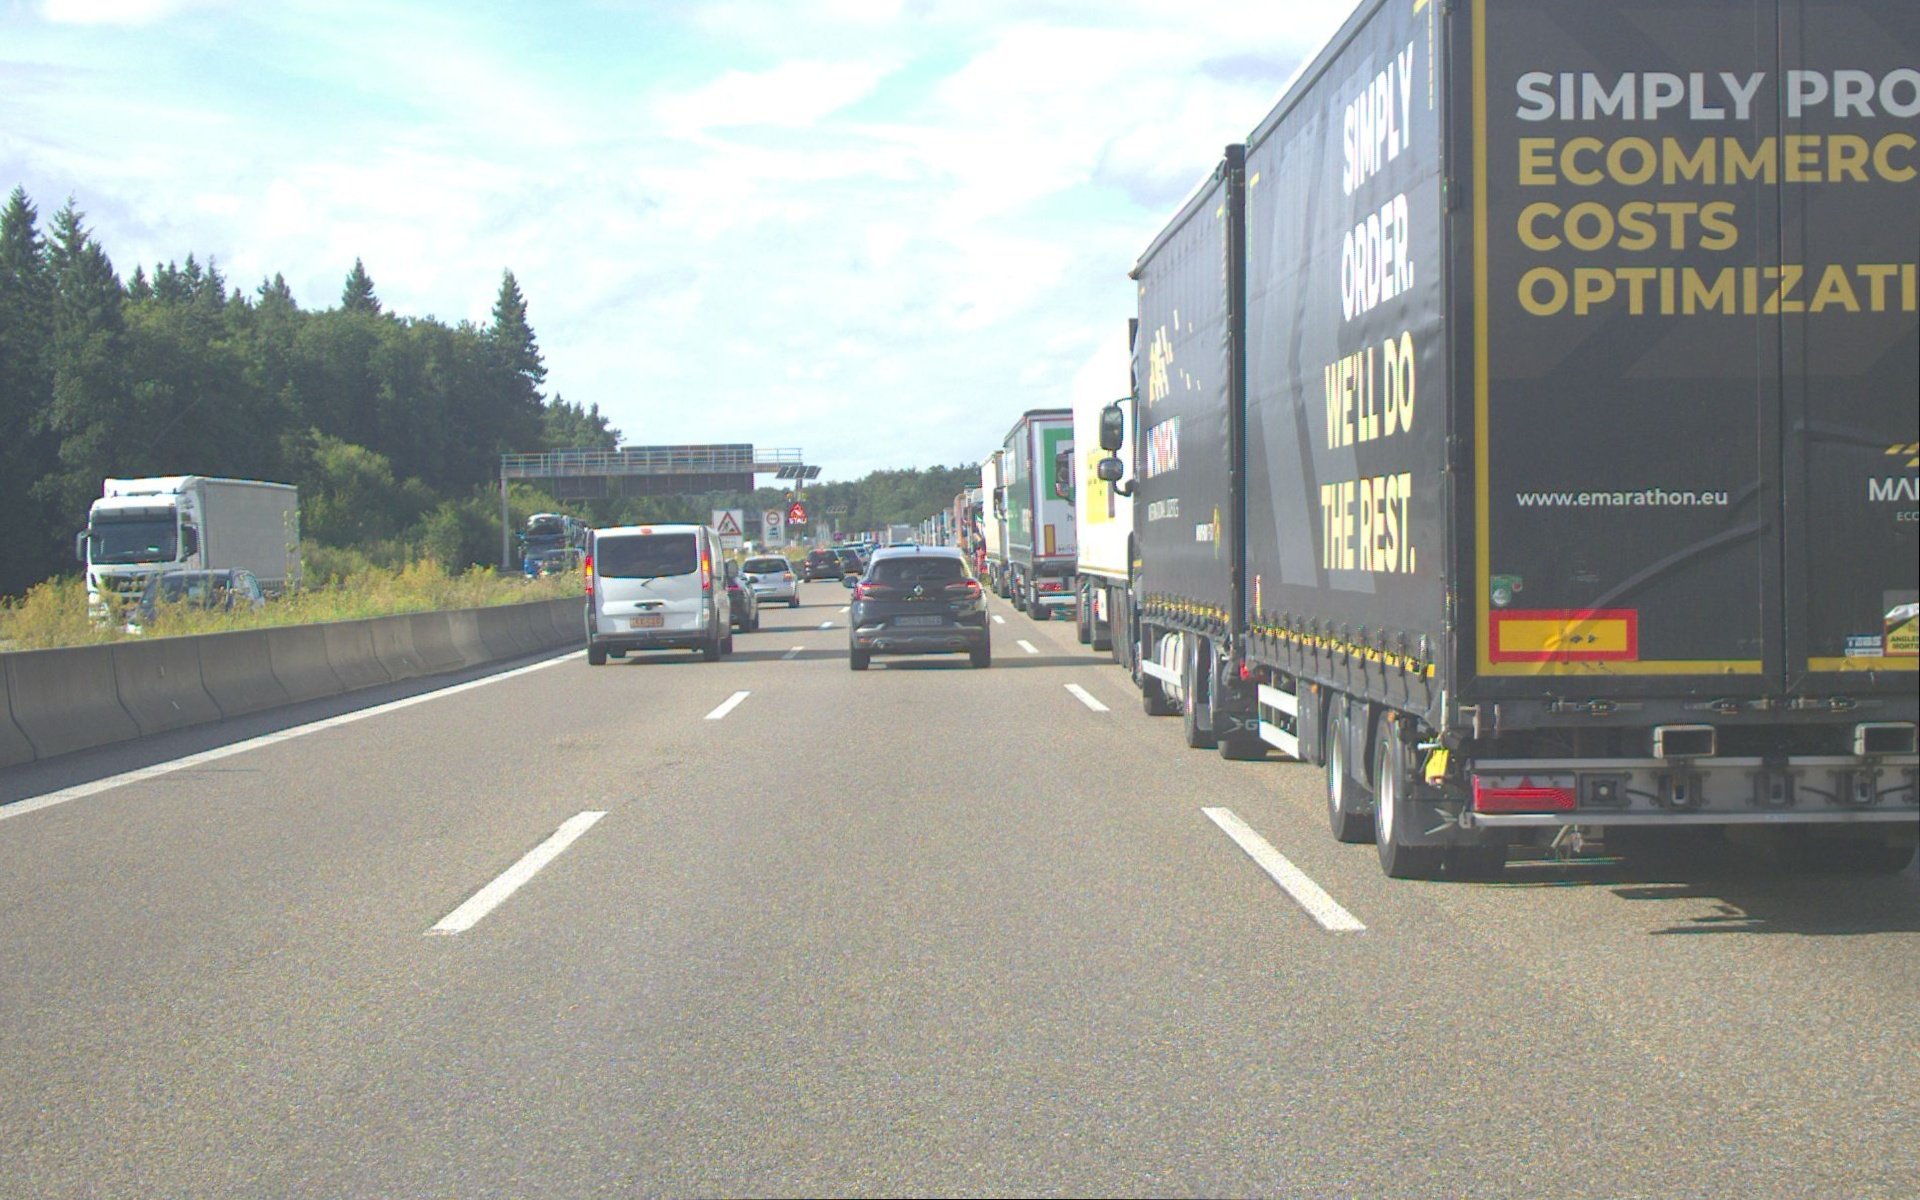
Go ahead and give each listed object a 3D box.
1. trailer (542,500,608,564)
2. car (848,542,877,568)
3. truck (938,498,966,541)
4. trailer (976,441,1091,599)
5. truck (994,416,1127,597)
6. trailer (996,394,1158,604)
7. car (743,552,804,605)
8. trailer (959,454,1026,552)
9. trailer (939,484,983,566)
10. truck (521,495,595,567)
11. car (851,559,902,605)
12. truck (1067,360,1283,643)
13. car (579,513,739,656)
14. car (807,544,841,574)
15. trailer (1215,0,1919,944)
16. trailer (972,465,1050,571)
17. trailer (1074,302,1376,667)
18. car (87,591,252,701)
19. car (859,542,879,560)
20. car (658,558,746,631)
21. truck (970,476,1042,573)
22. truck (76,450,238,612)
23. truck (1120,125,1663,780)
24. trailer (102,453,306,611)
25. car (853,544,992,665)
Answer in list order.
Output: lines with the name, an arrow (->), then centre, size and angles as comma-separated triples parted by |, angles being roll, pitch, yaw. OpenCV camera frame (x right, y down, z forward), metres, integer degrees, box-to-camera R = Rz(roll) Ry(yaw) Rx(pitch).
trailer -> -22.113, -3.881, 197.752 | 2.798, 3.516, 8.954 | -2, 1, -1
car -> -5.055, -2.324, 178.853 | 1.434, 1.305, 3.533 | 1, 1, -1
truck -> -0.568, -5.935, 254.166 | 1.993, 3.042, 4.981 | 1, 1, 0
trailer -> 1.974, -2.243, 97.783 | 2.703, 4.068, 12.945 | -3, 1, 0
truck -> 2.217, -2.070, 78.248 | 2.647, 3.855, 6.996 | -2, 1, 0
trailer -> 2.261, -1.977, 71.156 | 2.661, 3.855, 13.395 | -2, 1, 0
car -> -5.116, -0.596, 94.398 | 1.500, 1.391, 3.476 | 1, 1, -1
trailer -> 1.466, -4.428, 159.915 | 2.802, 4.229, 11.057 | -3, 1, 0
trailer -> 0.054, -3.984, 183.960 | 2.150, 4.244, 8.440 | -2, 1, 0
truck -> -21.905, -3.725, 187.667 | 2.831, 3.676, 11.133 | -2, 1, -1
car -> -2.656, -0.578, 108.715 | 1.581, 1.391, 3.208 | 1, 1, -2
truck -> 3.107, -1.419, 51.078 | 2.802, 3.925, 5.826 | -1, 1, 0
car -> -4.393, -0.253, 50.840 | 1.933, 1.972, 5.099 | 1, 1, -1
car -> -6.084, -1.859, 154.295 | 1.434, 1.305, 3.533 | 1, 1, -1
trailer -> 3.011, -0.811, 17.073 | 2.716, 3.947, 8.712 | 1, 1, 0
trailer -> 1.816, -2.969, 127.016 | 2.541, 3.641, 10.627 | -2, 1, 0
trailer -> 3.094, -1.332, 43.856 | 2.792, 3.925, 13.070 | -1, 1, 0
car -> -13.103, 0.736, 57.205 | 1.815, 1.688, 4.251 | 1, 1, -1
car -> -6.424, -3.446, 241.899 | 1.361, 1.296, 3.085 | 1, 1, -1
car -> -5.023, -0.133, 67.335 | 1.500, 1.391, 3.476 | 0, 1, -1
truck -> 1.751, -2.913, 133.672 | 2.533, 3.571, 6.730 | -2, 1, 0
truck -> -20.488, -1.740, 88.033 | 2.819, 3.962, 5.833 | -1, 1, -1
truck -> 2.922, -0.976, 26.486 | 2.740, 4.024, 10.203 | 1, 1, -1
trailer -> -20.627, -1.817, 94.749 | 2.832, 3.979, 13.550 | -1, 1, -1
car -> -0.494, 0.028, 44.779 | 1.696, 1.478, 4.160 | 1, 1, -1
